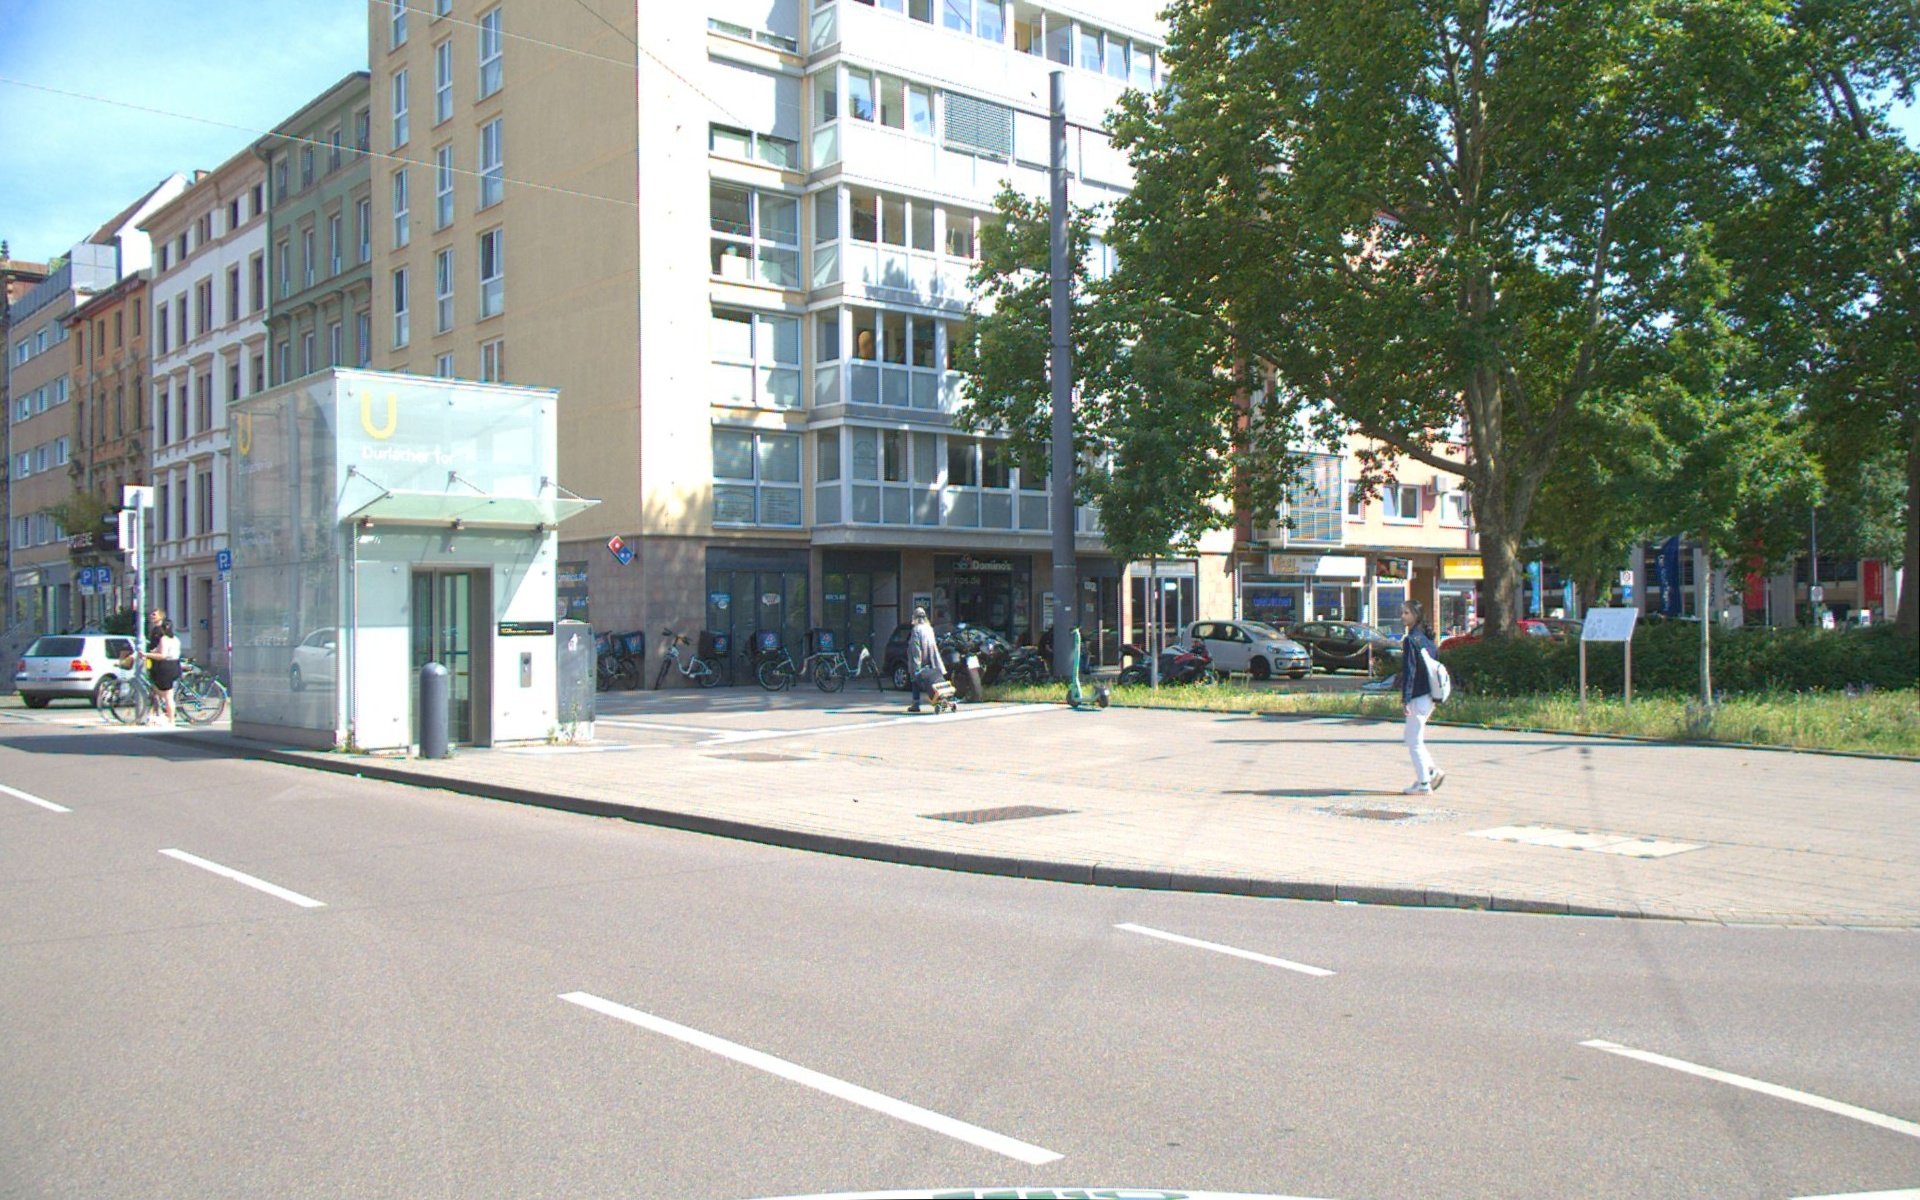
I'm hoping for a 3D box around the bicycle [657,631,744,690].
[{"bbox_3d":[-5.659,1.311,36.149,1.871,1.207,0.534,-1,-1,-39],"label":"bicycle"}]

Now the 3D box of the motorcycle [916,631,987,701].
[{"bbox_3d":[-0.157,1.060,27.130,0.628,1.080,2.029,-1,-1,-16],"label":"motorcycle"}]

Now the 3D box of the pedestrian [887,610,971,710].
[{"bbox_3d":[-0.464,0.868,24.435,0.652,1.428,1.099,-1,-1,-45],"label":"pedestrian"}]

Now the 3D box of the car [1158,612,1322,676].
[{"bbox_3d":[7.183,1.095,42.749,1.873,1.465,3.943,0,1,-40],"label":"car"}]

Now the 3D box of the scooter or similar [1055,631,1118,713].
[{"bbox_3d":[1.830,1.025,24.046,0.506,1.139,1.359,-1,-1,-13],"label":"scooter or similar"}]

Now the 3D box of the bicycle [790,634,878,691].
[{"bbox_3d":[-2.609,1.281,34.290,1.733,1.105,0.578,-1,-1,-31],"label":"bicycle"}]

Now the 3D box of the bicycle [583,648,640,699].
[{"bbox_3d":[-7.551,1.578,35.785,0.577,1.061,1.736,-1,-1,-34],"label":"bicycle"}]

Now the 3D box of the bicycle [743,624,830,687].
[{"bbox_3d":[-3.674,1.163,35.026,1.733,1.240,0.578,-1,-1,-31],"label":"bicycle"}]

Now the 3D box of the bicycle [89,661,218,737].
[{"bbox_3d":[-12.917,1.568,26.527,0.574,1.150,1.785,-2,-2,42],"label":"bicycle"}]

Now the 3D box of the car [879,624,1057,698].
[{"bbox_3d":[0.121,1.315,35.746,1.644,1.496,4.033,4,-3,-40],"label":"car"}]

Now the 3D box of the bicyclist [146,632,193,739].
[{"bbox_3d":[-12.060,1.299,25.257,0.603,1.600,0.728,0,-2,-23],"label":"bicyclist"}]

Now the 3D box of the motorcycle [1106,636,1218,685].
[{"bbox_3d":[3.709,1.111,30.318,1.988,0.856,0.641,-1,-1,10],"label":"motorcycle"}]

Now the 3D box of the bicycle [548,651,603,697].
[{"bbox_3d":[-8.612,1.657,37.047,0.577,0.982,1.735,-1,-1,-35],"label":"bicycle"}]

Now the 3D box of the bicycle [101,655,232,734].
[{"bbox_3d":[-12.090,1.424,25.266,1.767,1.150,0.749,0,-2,-24],"label":"bicycle"}]

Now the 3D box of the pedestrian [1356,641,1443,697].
[{"bbox_3d":[7.457,1.165,28.064,0.816,0.908,1.158,0,-1,-43],"label":"pedestrian"}]

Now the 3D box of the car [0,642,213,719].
[{"bbox_3d":[-17.263,1.629,33.659,1.769,1.465,4.003,0,-3,10],"label":"car"}]

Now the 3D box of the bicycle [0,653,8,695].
[{"bbox_3d":[-26.264,1.979,43.834,1.732,1.113,0.588,0,-1,-42],"label":"bicycle"}]

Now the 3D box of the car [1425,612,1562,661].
[{"bbox_3d":[16.429,1.094,51.040,1.727,1.363,3.682,0,1,-40],"label":"car"}]

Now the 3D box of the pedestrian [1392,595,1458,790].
[{"bbox_3d":[4.001,0.779,14.231,0.444,1.633,0.399,1,1,30],"label":"pedestrian"}]

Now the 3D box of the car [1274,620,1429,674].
[{"bbox_3d":[10.722,1.255,45.501,1.727,1.292,3.943,0,1,-40],"label":"car"}]

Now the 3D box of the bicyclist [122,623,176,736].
[{"bbox_3d":[-12.919,1.256,26.357,0.574,1.765,0.613,-3,-3,43],"label":"bicyclist"}]

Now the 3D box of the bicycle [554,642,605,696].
[{"bbox_3d":[-8.202,1.473,35.627,0.576,1.104,1.740,-4,0,-28],"label":"bicycle"}]
